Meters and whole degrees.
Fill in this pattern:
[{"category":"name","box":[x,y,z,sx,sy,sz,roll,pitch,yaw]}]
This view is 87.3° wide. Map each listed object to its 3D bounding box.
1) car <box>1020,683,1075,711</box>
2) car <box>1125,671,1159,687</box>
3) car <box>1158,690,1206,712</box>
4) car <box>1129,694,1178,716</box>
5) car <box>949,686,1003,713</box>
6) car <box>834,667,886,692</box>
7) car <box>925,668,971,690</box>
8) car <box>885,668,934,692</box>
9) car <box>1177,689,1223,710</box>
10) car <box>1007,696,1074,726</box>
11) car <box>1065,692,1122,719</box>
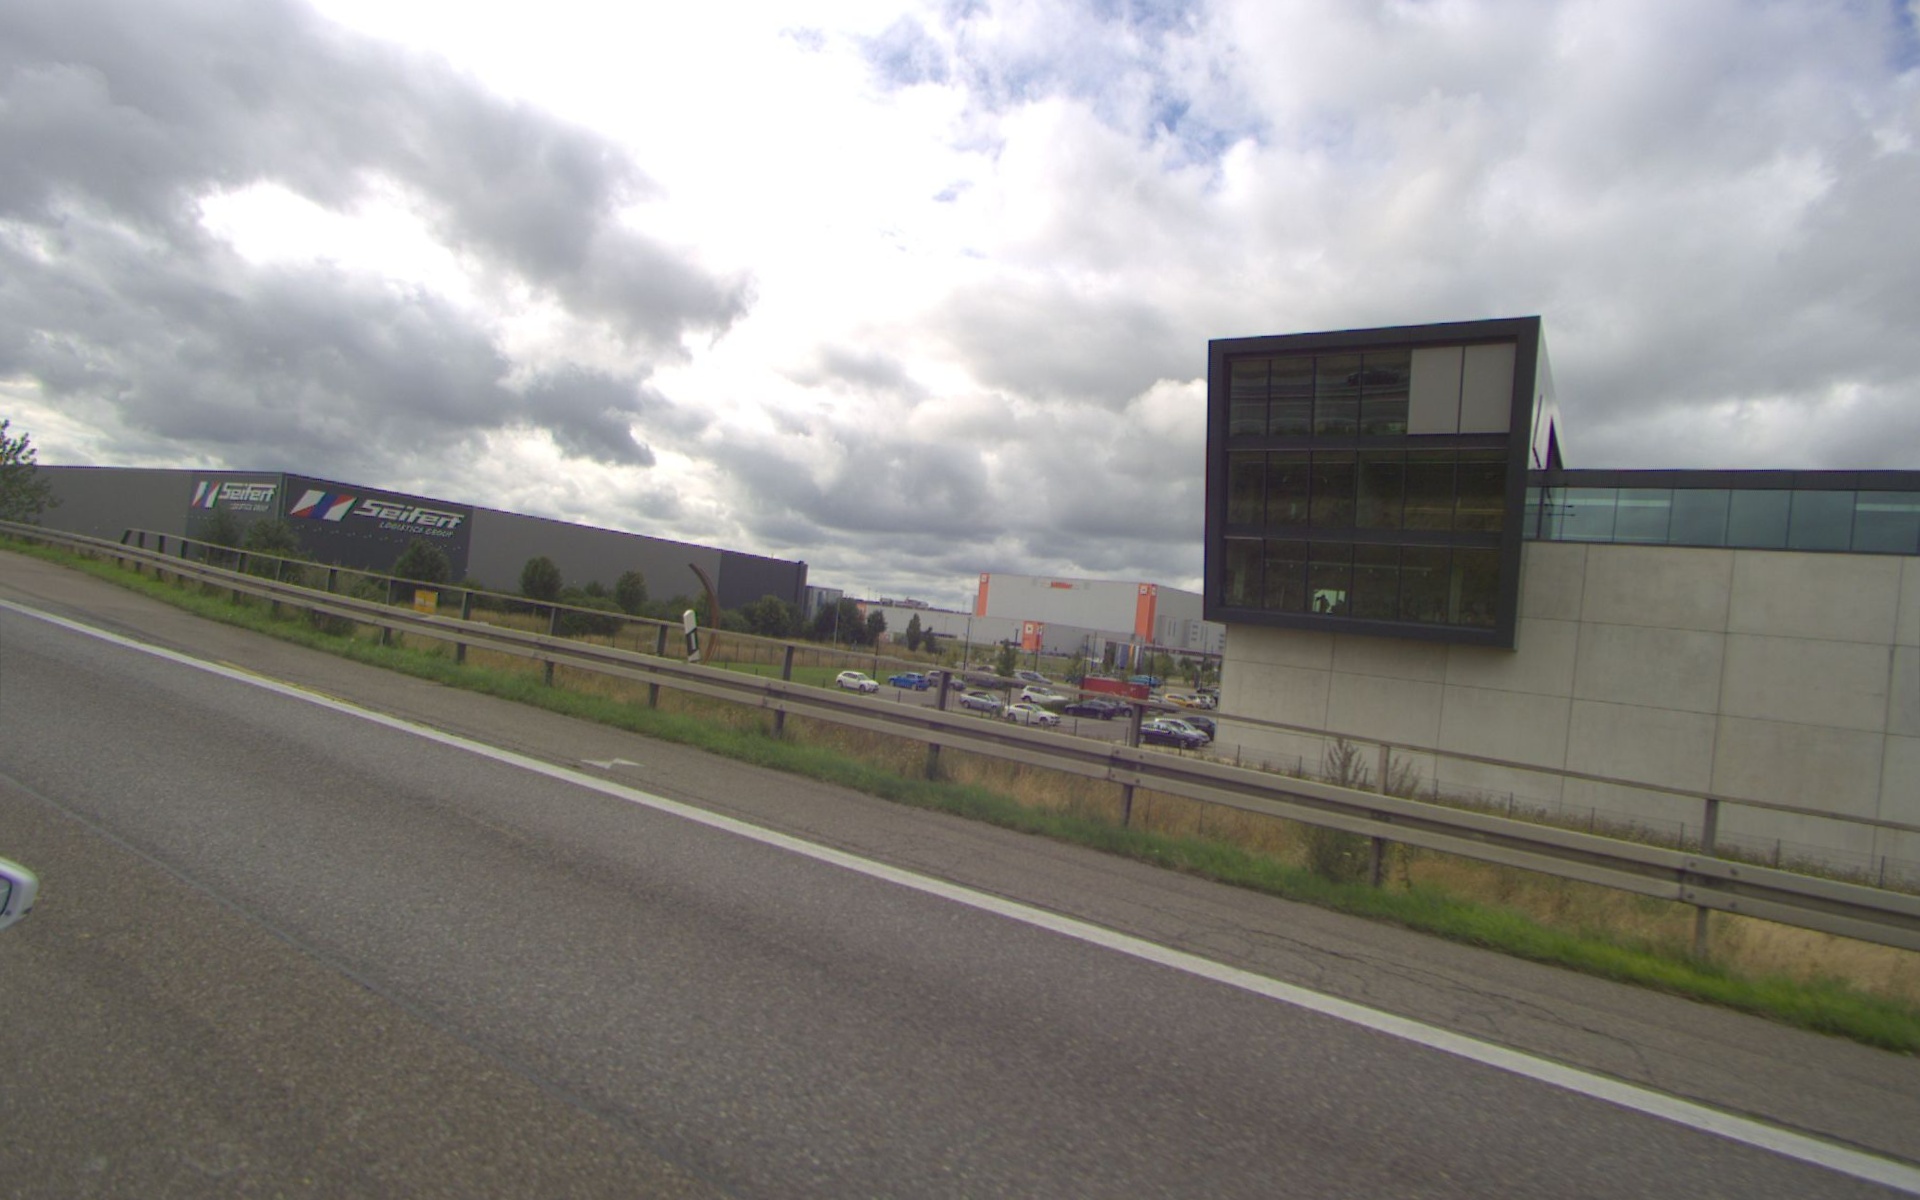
[{"category":"car","box":[7.639,8.457,87.799,4.395,1.721,1.679,6,-2,32]},{"category":"car","box":[24.183,10.529,133.740,3.930,1.511,1.680,7,-2,28]},{"category":"car","box":[21.854,9.908,99.113,4.186,1.511,1.679,6,-2,32]},{"category":"car","box":[18.340,9.950,95.442,4.186,1.511,1.679,6,-2,32]},{"category":"car","box":[1.249,7.917,80.214,3.881,1.511,1.679,6,-2,32]},{"category":"car","box":[-8.324,6.593,83.595,3.934,1.511,1.679,6,-2,32]},{"category":"car","box":[-1.114,7.358,93.837,3.934,1.511,1.679,6,-2,32]},{"category":"car","box":[-4.508,7.142,89.997,3.934,1.511,1.679,6,-2,32]},{"category":"car","box":[24.725,10.295,103.686,4.186,1.511,1.679,6,-2,32]},{"category":"car","box":[5.881,8.146,73.853,4.488,1.511,1.679,6,-2,32]},{"category":"car","box":[10.953,8.657,82.500,4.186,1.511,1.679,6,-2,32]}]
